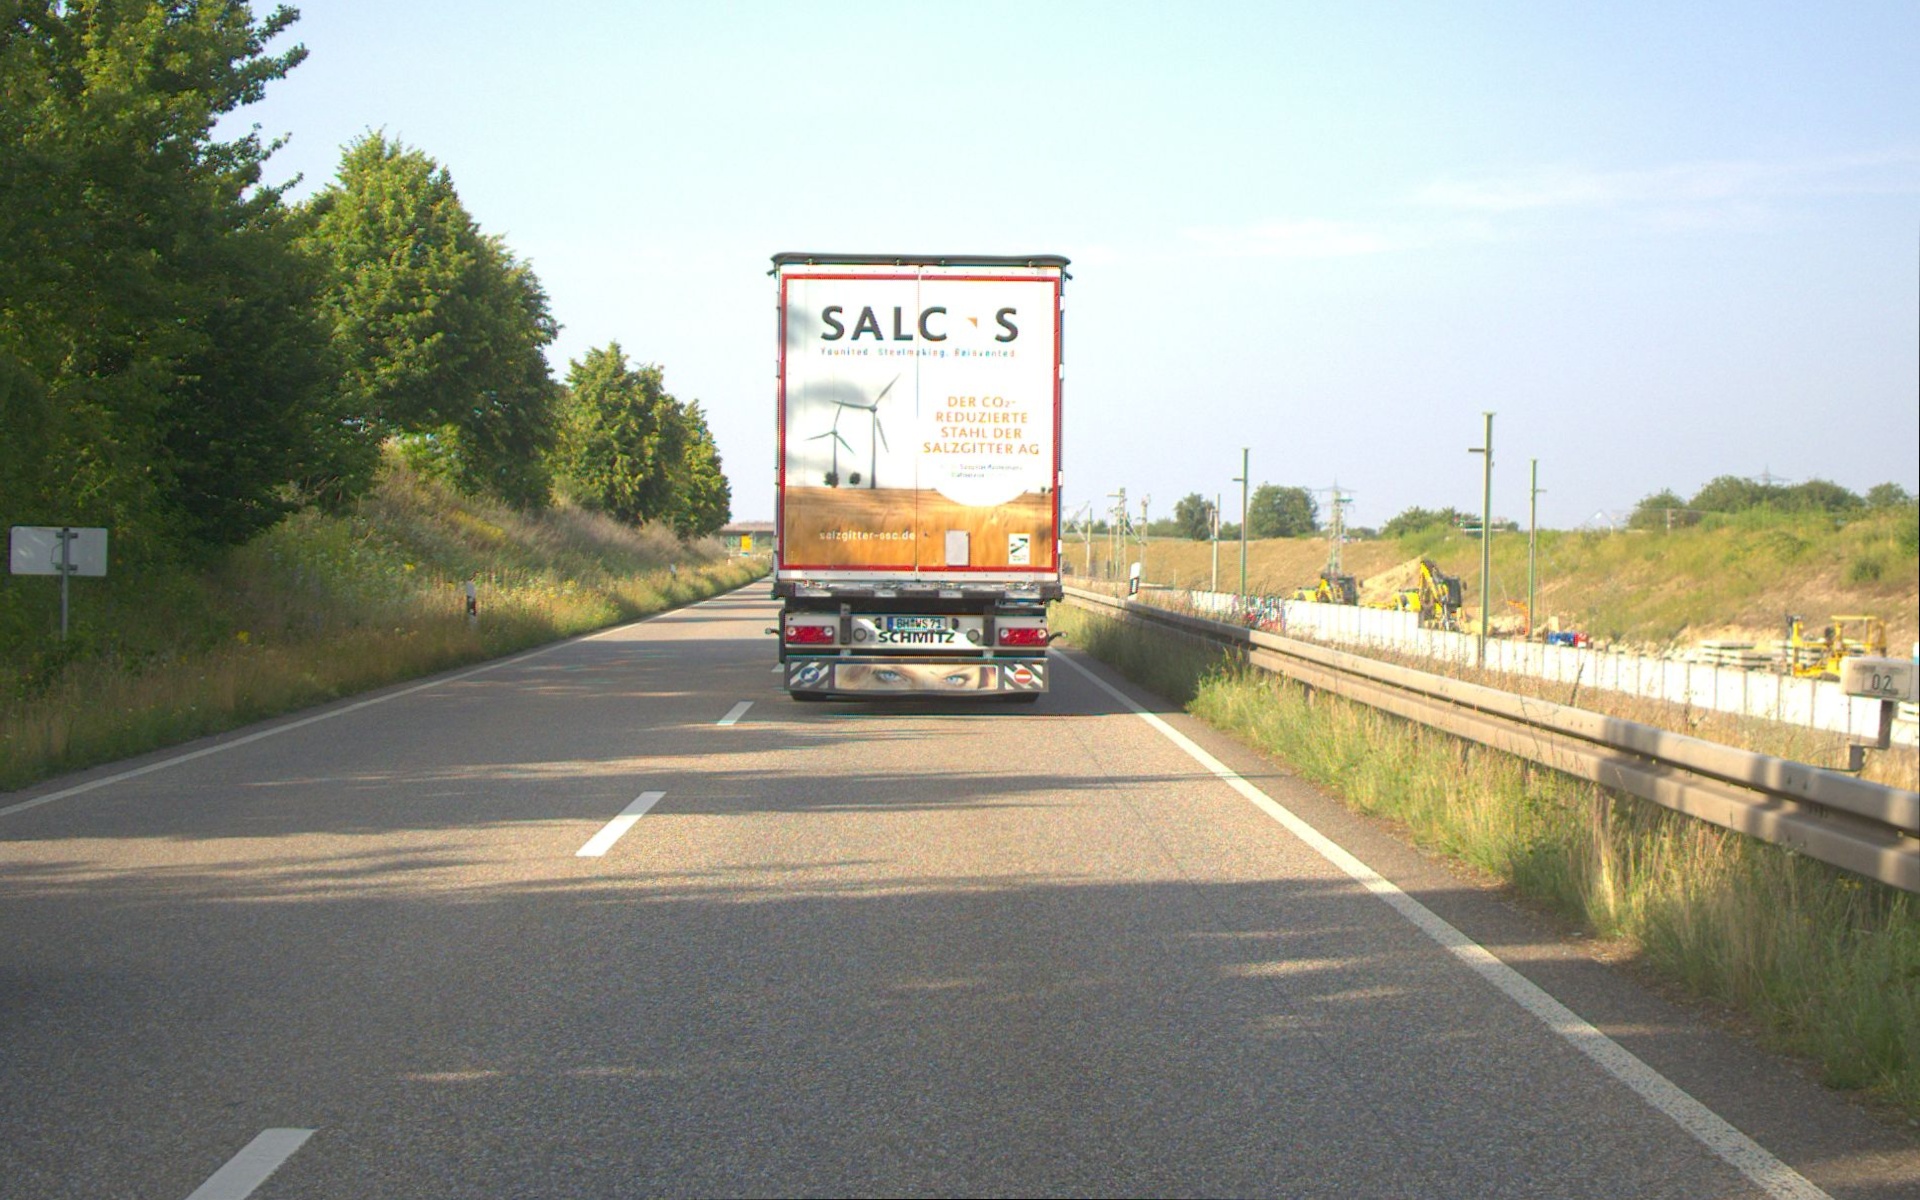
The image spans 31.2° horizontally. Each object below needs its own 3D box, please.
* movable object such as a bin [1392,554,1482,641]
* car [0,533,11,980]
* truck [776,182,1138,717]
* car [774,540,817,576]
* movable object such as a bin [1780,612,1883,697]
[{"bbox_3d":[22.048,-0.175,159.164,2.796,3.872,7.539,1,1,-2],"label":"movable object such as a bin"},{"bbox_3d":[-4.179,0.594,9.913,1.745,1.559,4.366,-1,1,-1],"label":"car"},{"bbox_3d":[-0.108,-1.378,34.280,3.153,4.672,8.442,0,1,-1],"label":"truck"},{"bbox_3d":[-7.261,-1.868,151.989,1.743,1.541,4.312,0,1,-1],"label":"car"},{"bbox_3d":[28.333,1.741,111.729,2.907,2.652,2.017,1,1,24],"label":"movable object such as a bin"}]
